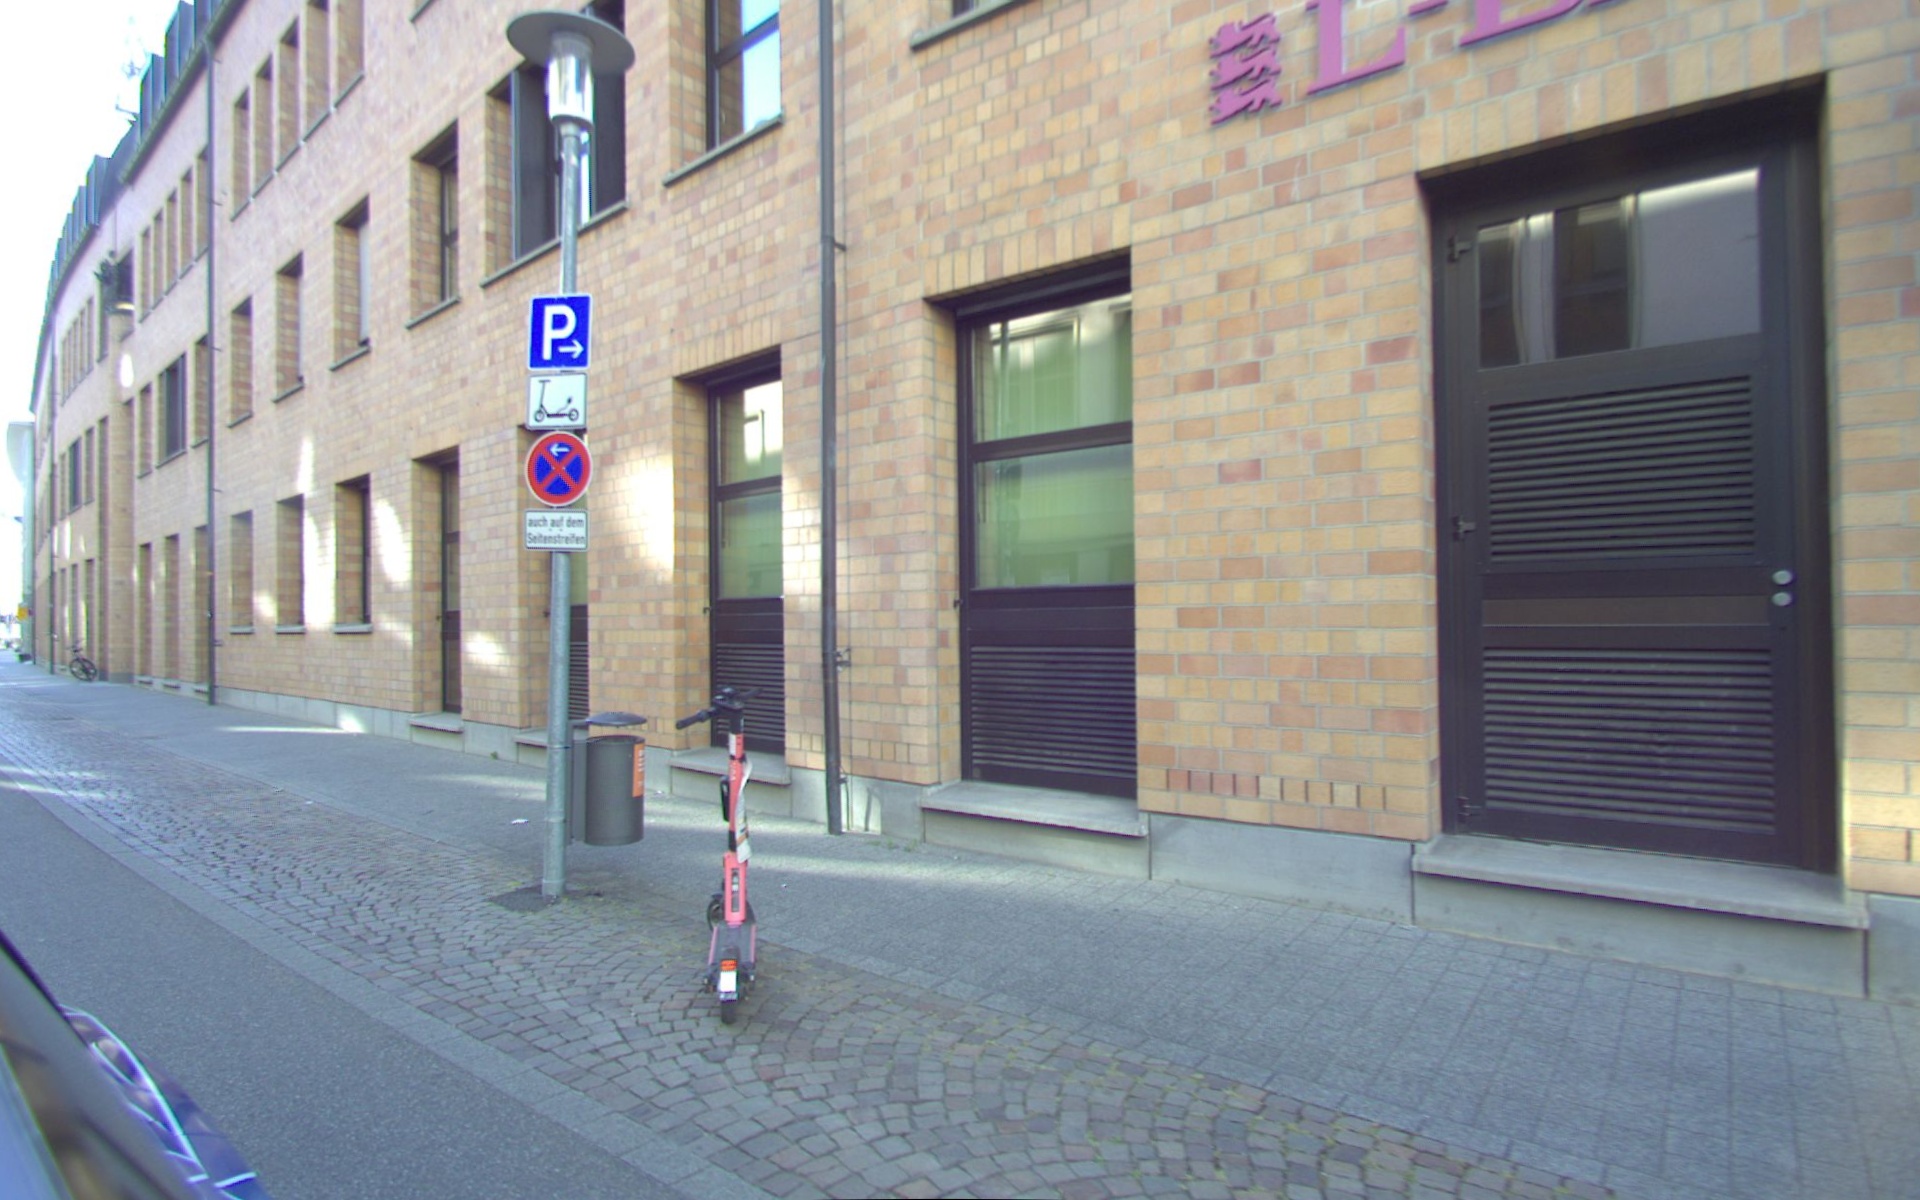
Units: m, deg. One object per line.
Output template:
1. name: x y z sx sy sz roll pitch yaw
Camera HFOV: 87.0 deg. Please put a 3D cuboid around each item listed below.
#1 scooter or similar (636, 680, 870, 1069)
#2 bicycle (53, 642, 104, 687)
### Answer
1. scooter or similar: -0.910 0.979 4.164 0.688 1.227 1.361 0 -2 -23
2. bicycle: -24.207 1.763 27.779 1.800 1.171 0.626 -3 1 36
